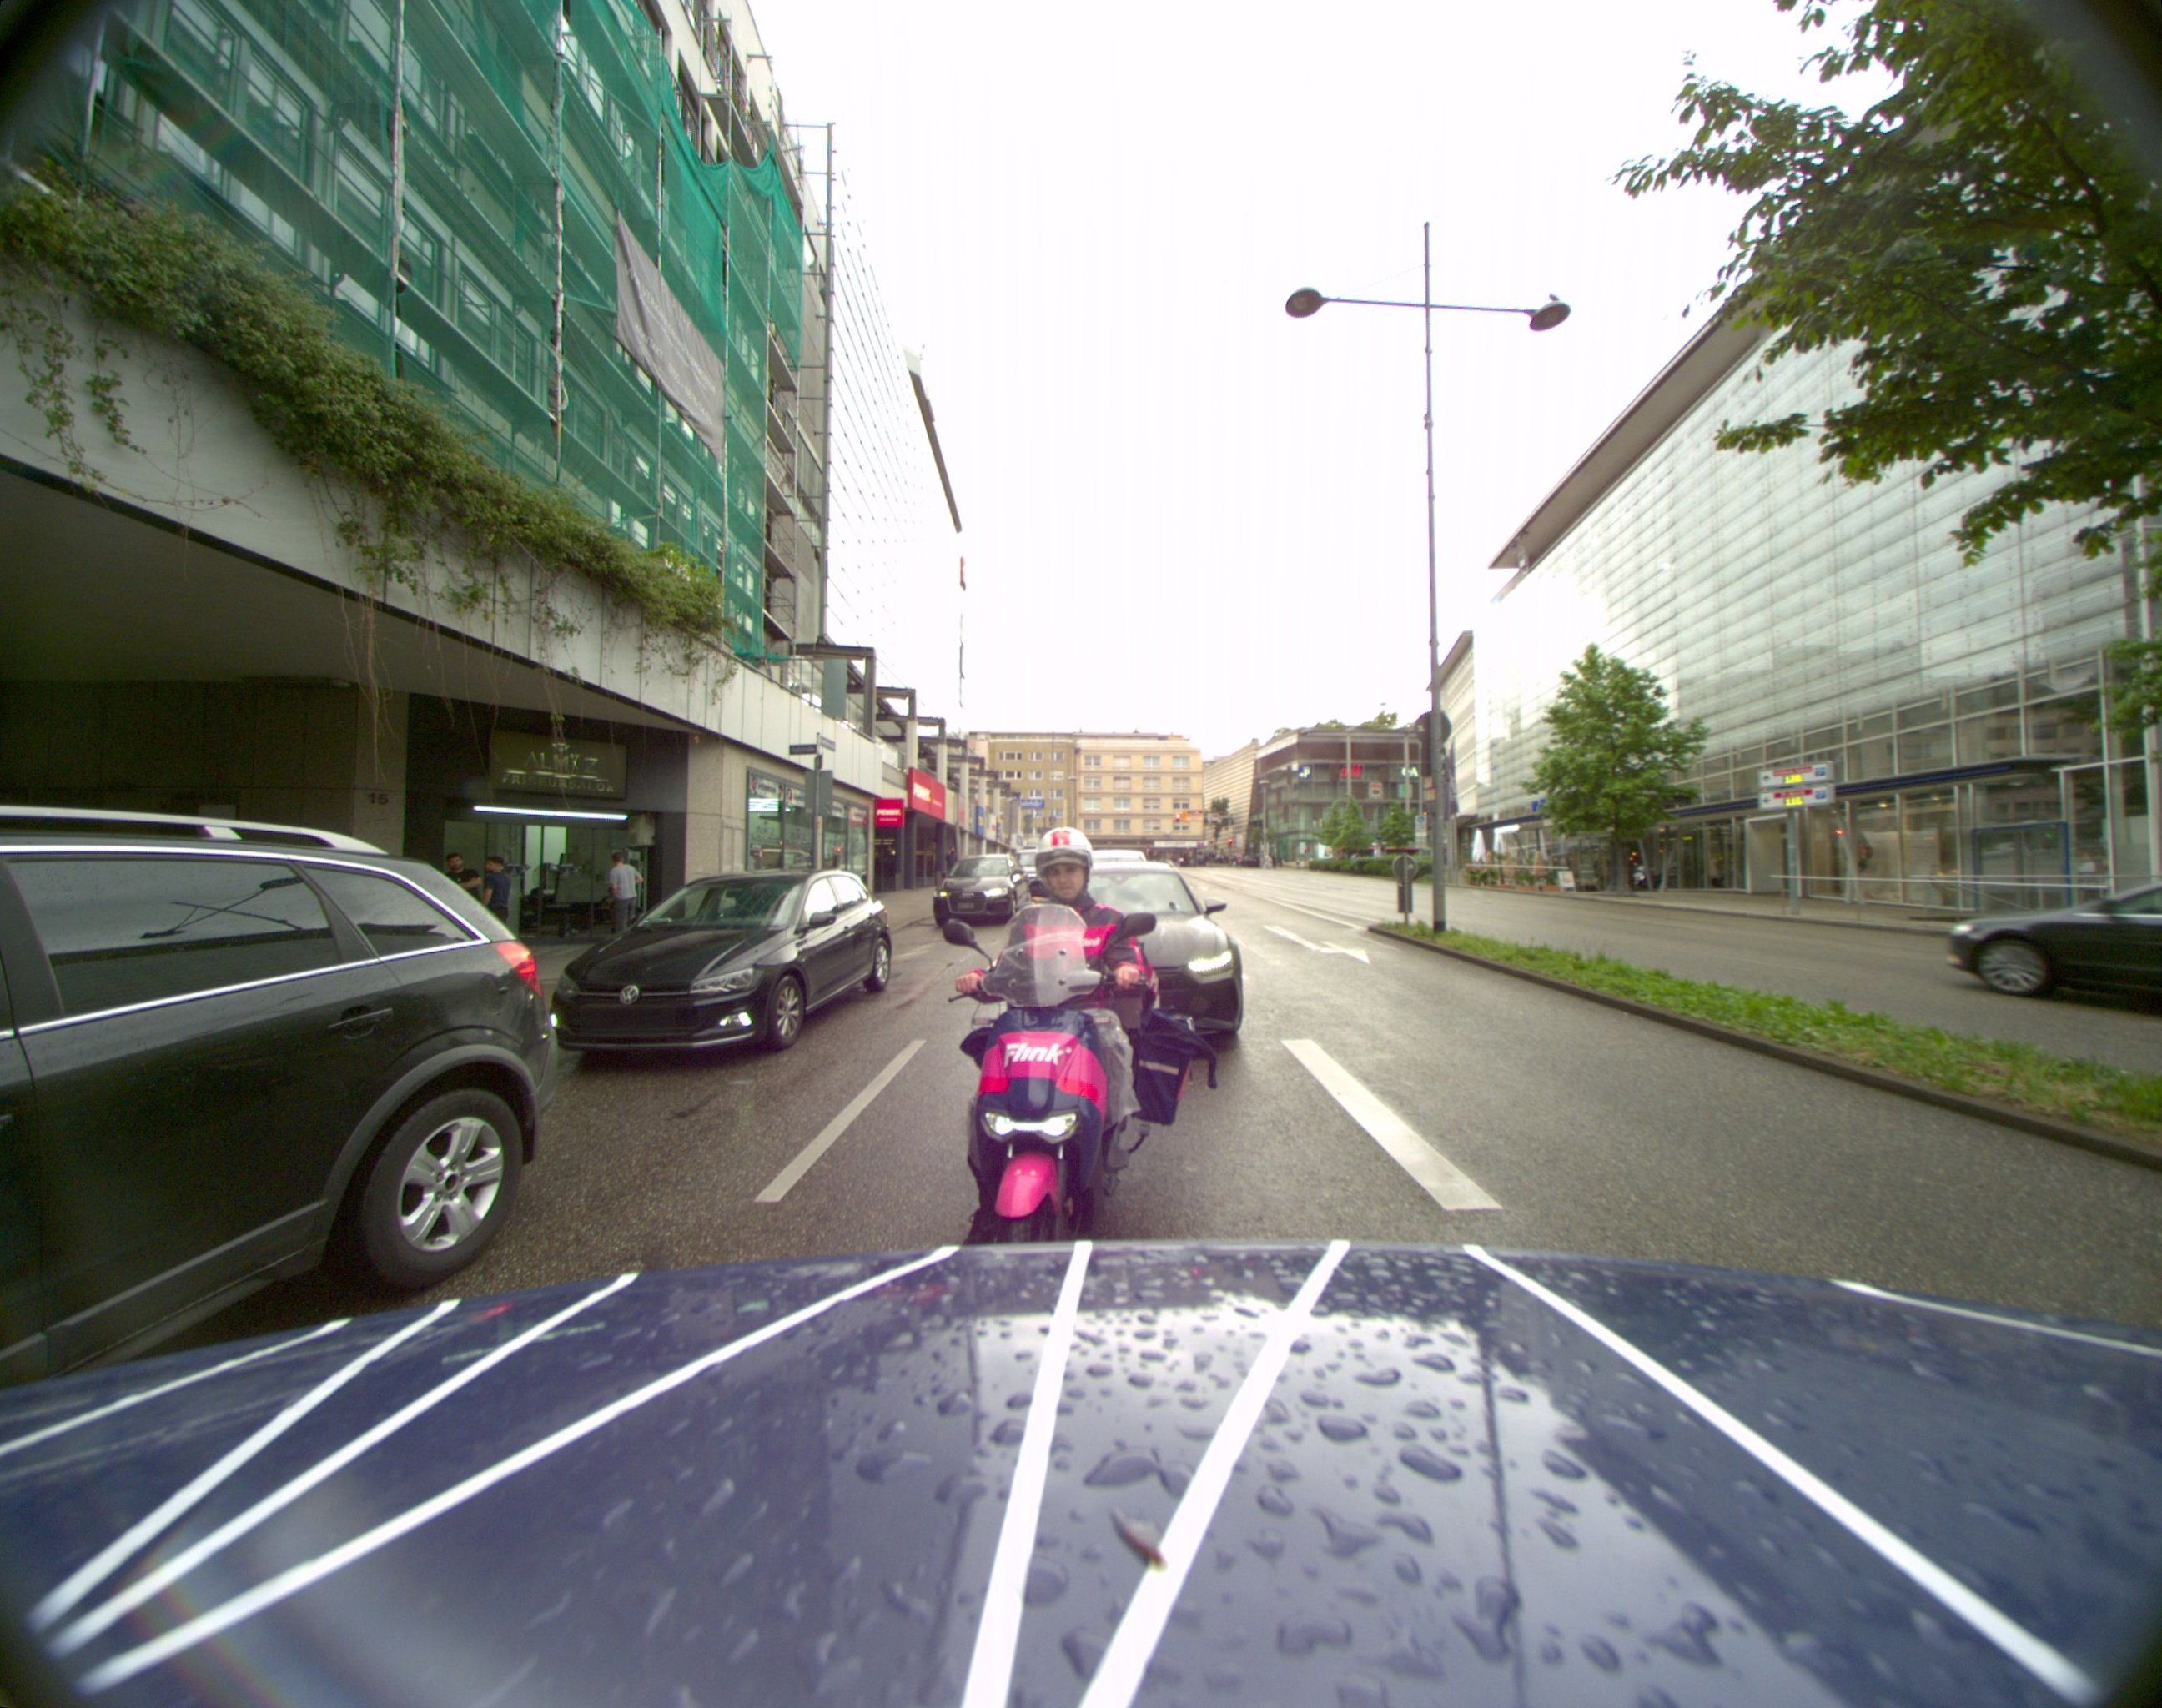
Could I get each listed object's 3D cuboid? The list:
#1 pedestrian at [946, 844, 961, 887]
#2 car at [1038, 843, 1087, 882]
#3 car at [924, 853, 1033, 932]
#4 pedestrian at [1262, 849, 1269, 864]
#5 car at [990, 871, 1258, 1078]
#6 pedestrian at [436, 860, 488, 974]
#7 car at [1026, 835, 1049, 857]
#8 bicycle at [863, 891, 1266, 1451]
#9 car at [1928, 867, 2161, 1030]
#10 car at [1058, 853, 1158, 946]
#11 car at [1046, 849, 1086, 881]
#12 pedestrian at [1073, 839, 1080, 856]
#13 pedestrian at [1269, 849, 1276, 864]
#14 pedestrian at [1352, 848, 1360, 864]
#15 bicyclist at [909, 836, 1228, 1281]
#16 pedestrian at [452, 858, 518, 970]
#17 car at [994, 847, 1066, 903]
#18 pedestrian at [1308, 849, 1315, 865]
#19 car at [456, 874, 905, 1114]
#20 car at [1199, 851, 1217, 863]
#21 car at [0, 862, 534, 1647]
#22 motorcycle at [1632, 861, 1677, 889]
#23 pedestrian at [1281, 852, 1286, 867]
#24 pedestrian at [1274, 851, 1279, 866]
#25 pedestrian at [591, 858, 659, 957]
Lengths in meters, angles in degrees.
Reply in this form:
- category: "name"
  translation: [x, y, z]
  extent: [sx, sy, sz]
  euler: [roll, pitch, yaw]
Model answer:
- category: "pedestrian"
  translation: [-5.087, 0.445, 30.295]
  extent: [0.510, 1.669, 0.579]
  euler: [0, 2, 0]
- category: "car"
  translation: [-0.812, 0.407, 36.359]
  extent: [1.988, 1.696, 4.165]
  euler: [-2, -1, 2]
- category: "car"
  translation: [-2.317, 0.818, 18.309]
  extent: [1.841, 1.598, 4.164]
  euler: [-2, 1, 2]
- category: "pedestrian"
  translation: [20.191, 0.228, 82.999]
  extent: [0.633, 1.620, 0.602]
  euler: [0, 1, 2]
- category: "car"
  translation: [0.395, 0.925, 7.579]
  extent: [1.890, 1.391, 4.165]
  euler: [-2, -1, 2]
- category: "pedestrian"
  translation: [-9.562, 0.950, 11.735]
  extent: [0.466, 1.698, 0.484]
  euler: [0, 2, 42]
- category: "car"
  translation: [-4.204, -0.807, 73.649]
  extent: [1.605, 2.002, 3.400]
  euler: [-2, 1, 7]
- category: "bicycle"
  translation: [-0.025, 0.928, 3.507]
  extent: [1.034, 1.279, 2.948]
  euler: [-2, 1, 1]
- category: "car"
  translation: [10.662, 0.858, 6.428]
  extent: [1.637, 1.477, 4.739]
  euler: [1, -2, -1]
- category: "car"
  translation: [0.559, 0.789, 15.231]
  extent: [1.675, 1.520, 4.164]
  euler: [-2, 1, 2]
- category: "car"
  translation: [-0.810, 0.610, 43.572]
  extent: [1.988, 1.696, 4.165]
  euler: [-2, -1, 2]
- category: "pedestrian"
  translation: [-0.464, -0.622, 73.036]
  extent: [0.634, 1.620, 0.602]
  euler: [0, 1, -1]
- category: "pedestrian"
  translation: [20.467, 0.274, 81.353]
  extent: [0.633, 1.620, 0.602]
  euler: [1, 1, 4]
- category: "pedestrian"
  translation: [30.019, 0.218, 82.829]
  extent: [0.626, 1.764, 0.689]
  euler: [-2, 2, 5]
- category: "bicyclist"
  translation: [-0.036, 0.715, 3.069]
  extent: [1.063, 1.534, 0.825]
  euler: [-2, 2, 0]
- category: "pedestrian"
  translation: [-8.886, 0.868, 11.351]
  extent: [0.640, 1.586, 0.576]
  euler: [-3, 2, -32]
- category: "car"
  translation: [-1.653, 0.676, 26.110]
  extent: [1.988, 1.696, 4.165]
  euler: [-2, -1, 2]
- category: "pedestrian"
  translation: [25.852, 0.311, 85.164]
  extent: [0.626, 1.764, 0.689]
  euler: [-2, 2, 7]
- category: "car"
  translation: [-3.179, 0.999, 7.159]
  extent: [1.758, 1.495, 4.165]
  euler: [-2, -1, 4]
- category: "car"
  translation: [22.725, 0.510, 135.963]
  extent: [2.000, 2.002, 4.584]
  euler: [0, 1, -7]
- category: "car"
  translation: [-3.332, 0.919, 1.245]
  extent: [1.764, 1.755, 4.164]
  euler: [-2, 0, 1]
- category: "motorcycle"
  translation: [28.103, 1.027, 37.246]
  extent: [1.707, 1.319, 0.620]
  euler: [0, 1, 1]
- category: "pedestrian"
  translation: [22.444, 0.575, 84.302]
  extent: [0.428, 1.620, 0.602]
  euler: [1, 1, 5]
- category: "pedestrian"
  translation: [22.276, 0.520, 86.782]
  extent: [0.428, 1.620, 0.602]
  euler: [1, 1, 3]
- category: "pedestrian"
  translation: [-7.885, 0.912, 13.150]
  extent: [0.732, 1.633, 0.640]
  euler: [-1, 2, 25]
